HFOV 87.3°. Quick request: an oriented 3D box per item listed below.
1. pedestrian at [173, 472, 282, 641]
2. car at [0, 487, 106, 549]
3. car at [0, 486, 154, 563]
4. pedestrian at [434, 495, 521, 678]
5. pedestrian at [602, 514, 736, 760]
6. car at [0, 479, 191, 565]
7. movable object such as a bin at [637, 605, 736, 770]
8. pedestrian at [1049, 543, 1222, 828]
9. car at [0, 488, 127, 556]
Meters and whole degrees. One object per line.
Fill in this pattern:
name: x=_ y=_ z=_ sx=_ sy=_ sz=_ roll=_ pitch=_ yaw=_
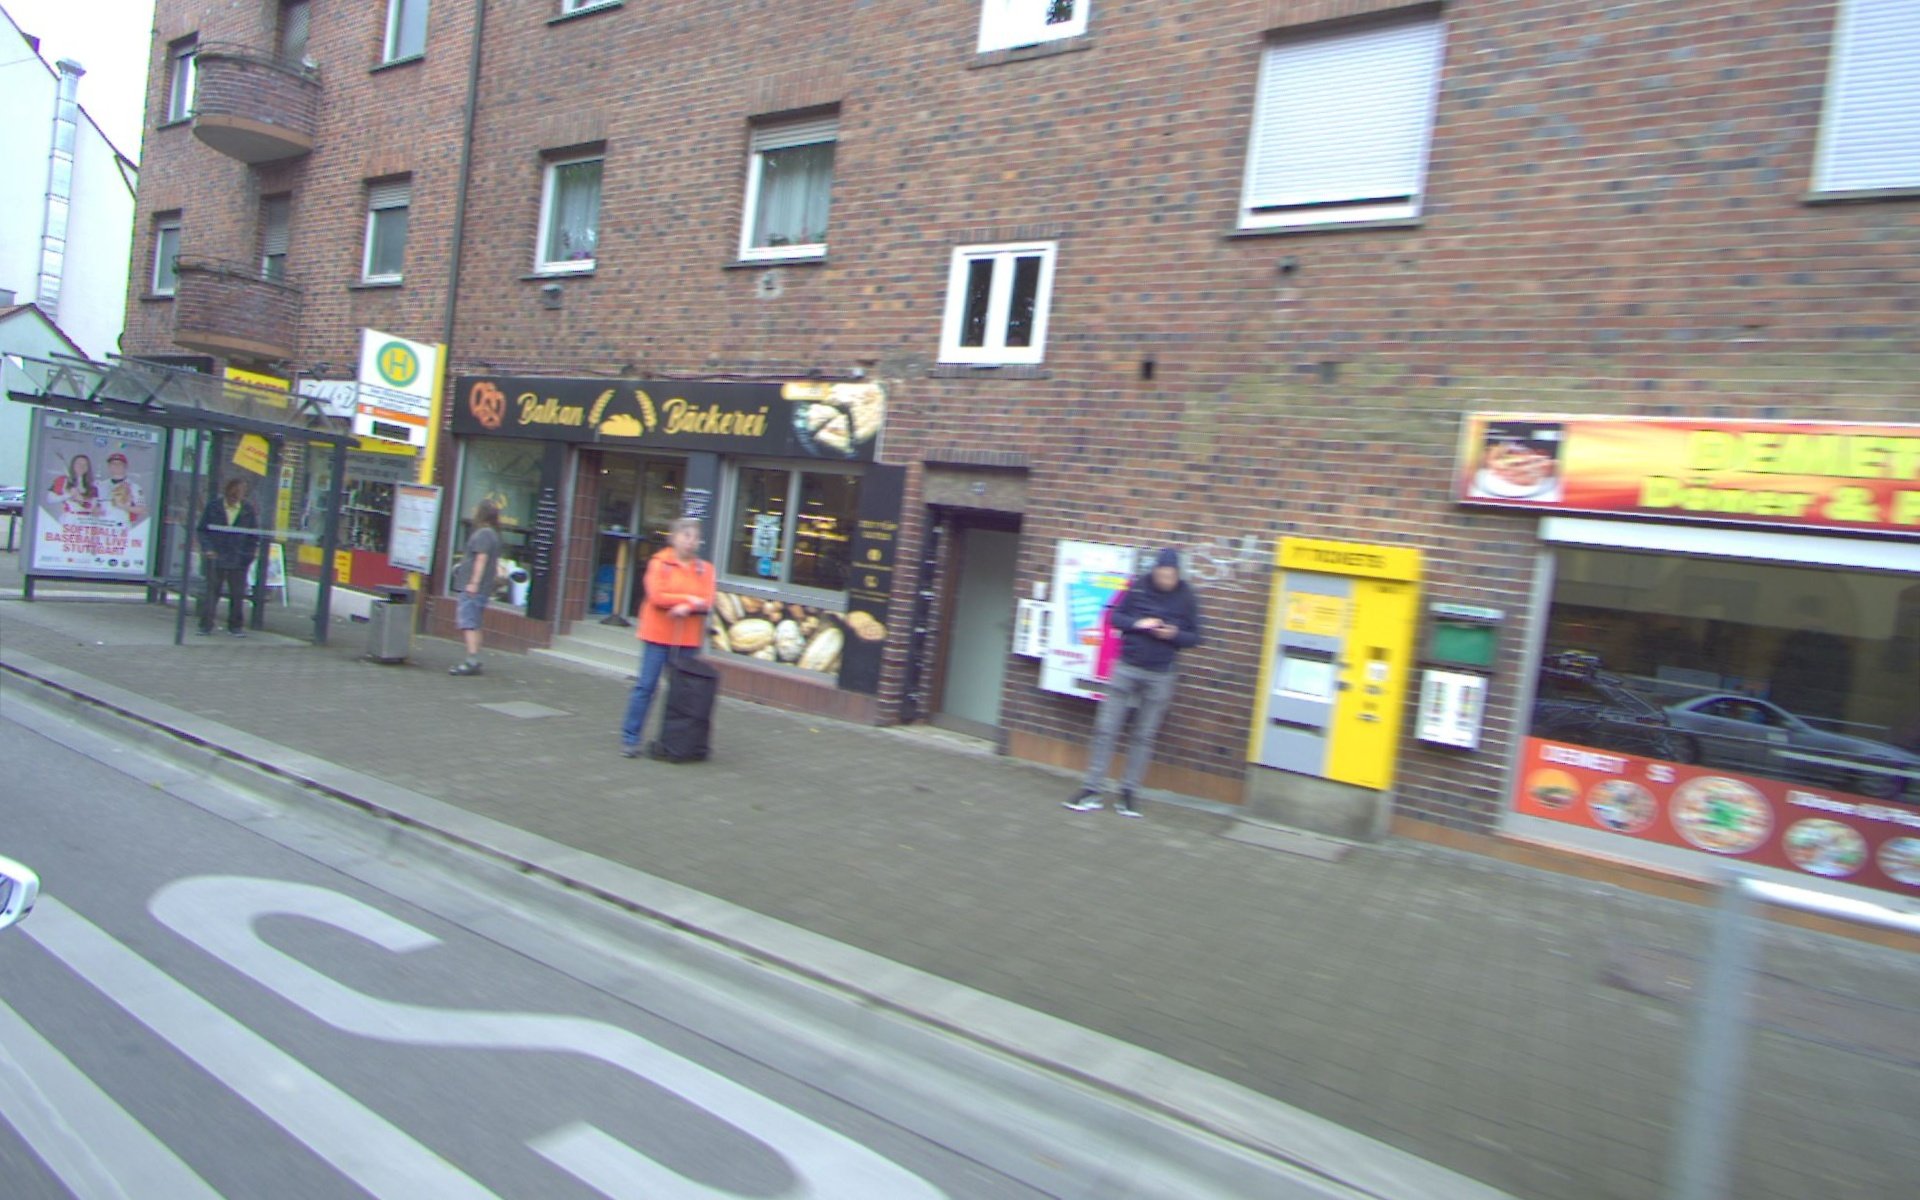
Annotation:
pedestrian: x=-8.076 y=-0.477 z=11.095 sx=0.752 sy=1.750 sz=0.669 roll=7 pitch=2 yaw=37
car: x=-27.923 y=-2.522 z=28.872 sx=4.868 sy=1.488 sz=1.912 roll=7 pitch=1 yaw=-32
car: x=-23.963 y=-2.051 z=25.745 sx=4.864 sy=1.560 sz=1.984 roll=7 pitch=1 yaw=-30
pedestrian: x=-4.872 y=-0.129 z=10.165 sx=0.450 sy=1.787 sz=0.479 roll=7 pitch=2 yaw=31
pedestrian: x=-2.090 y=0.252 z=7.192 sx=0.562 sy=1.658 sz=0.673 roll=5 pitch=2 yaw=-38
car: x=-21.771 y=-1.925 z=24.246 sx=4.863 sy=1.695 sz=1.983 roll=4 pitch=2 yaw=-31
movable object such as a bin: x=-1.899 y=0.602 z=6.980 sx=0.450 sy=1.070 sz=0.406 roll=5 pitch=2 yaw=-39
pedestrian: x=1.193 y=0.552 z=6.845 sx=0.766 sy=1.772 sz=0.647 roll=7 pitch=2 yaw=37
car: x=-25.907 y=-2.266 z=27.233 sx=4.870 sy=1.512 sz=1.838 roll=7 pitch=1 yaw=-34
